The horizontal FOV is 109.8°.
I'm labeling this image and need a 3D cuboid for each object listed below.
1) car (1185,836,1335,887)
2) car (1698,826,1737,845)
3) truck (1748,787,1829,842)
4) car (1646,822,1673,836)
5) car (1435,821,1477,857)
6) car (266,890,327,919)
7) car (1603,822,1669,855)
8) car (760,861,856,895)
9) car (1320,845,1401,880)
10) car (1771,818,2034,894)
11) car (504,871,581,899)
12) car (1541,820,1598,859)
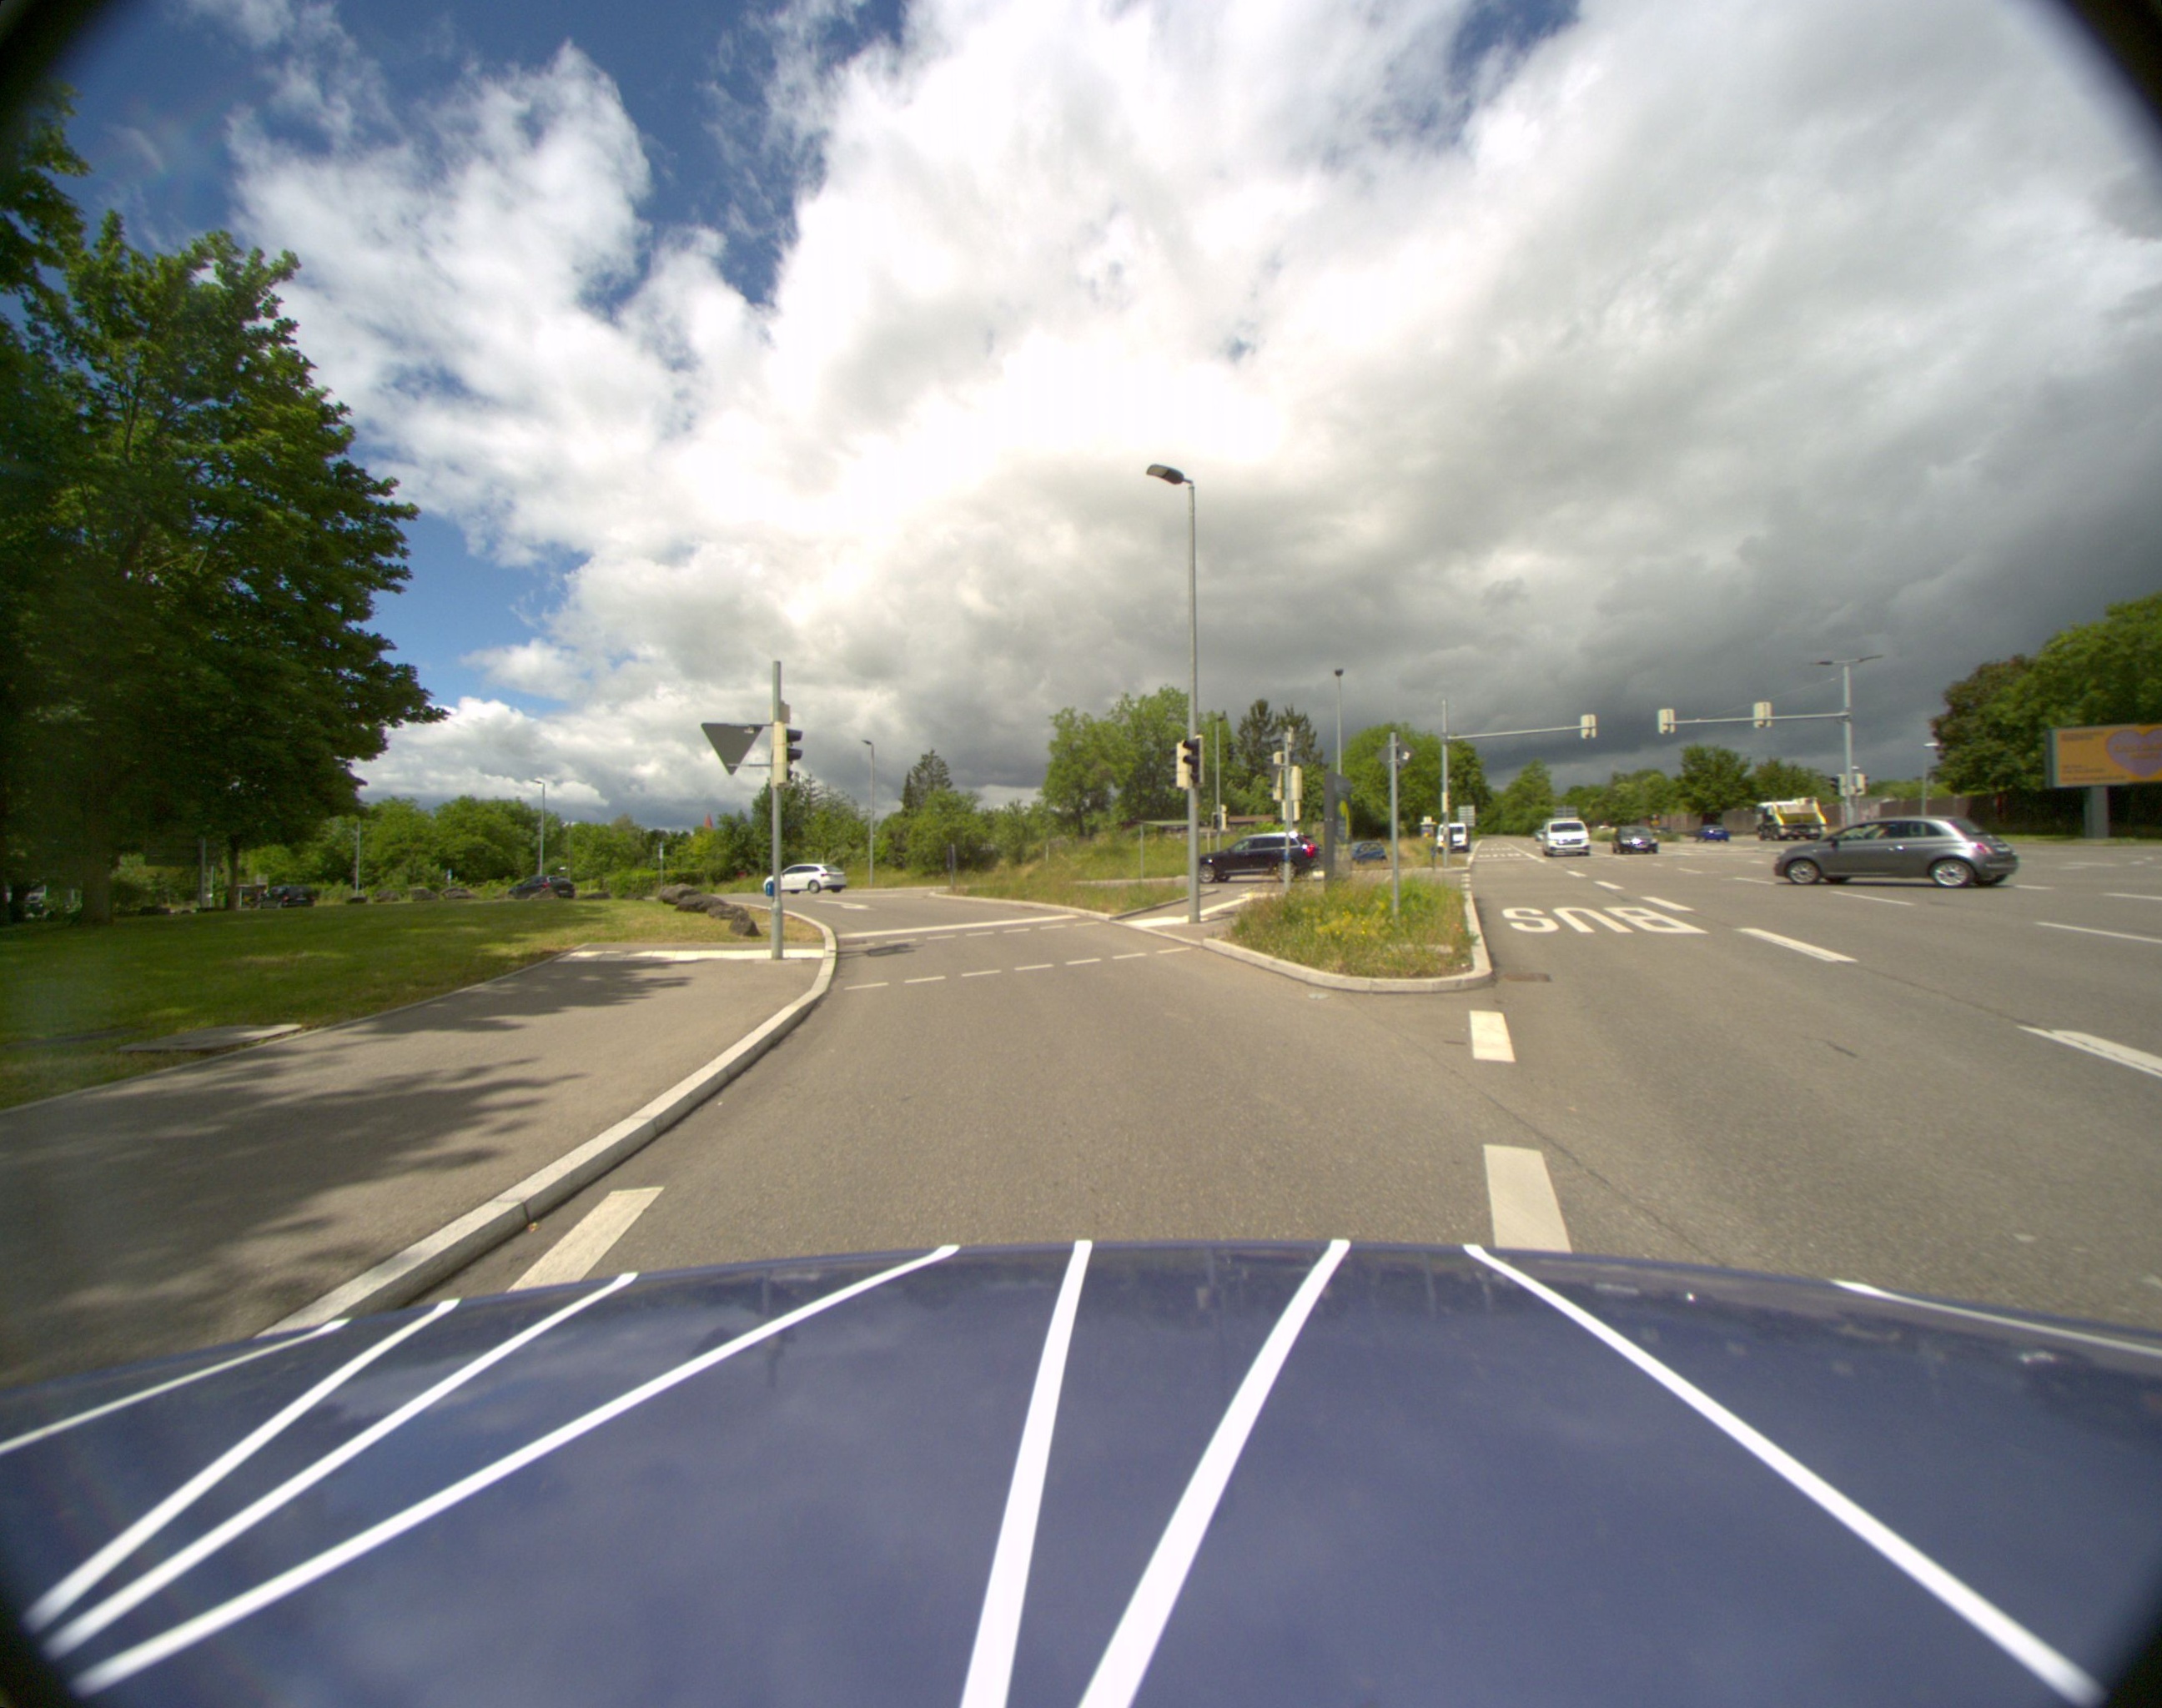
[{"bbox_3d":[6.562,0.291,28.066,4.969,1.680,1.914,-2,1,32],"label":"car"},{"bbox_3d":[54.569,-1.556,65.249,1.692,1.391,4.009,-1,-2,27],"label":"car"},{"bbox_3d":[56.094,-2.989,60.448,2.839,3.556,6.983,-1,-3,27],"label":"truck"},{"bbox_3d":[65.119,-2.786,85.574,1.692,1.392,4.007,-1,1,27],"label":"car"},{"bbox_3d":[29.321,-1.190,59.298,2.159,2.635,5.836,-1,1,34],"label":"car"},{"bbox_3d":[-58.608,3.775,56.781,4.800,1.767,1.794,-6,-3,27],"label":"car"},{"bbox_3d":[29.813,-0.850,40.980,1.906,1.626,4.978,-2,1,25],"label":"car"},{"bbox_3d":[-13.422,1.167,37.367,4.368,1.461,1.624,-2,1,21],"label":"car"},{"bbox_3d":[14.842,0.407,40.243,4.455,1.627,1.906,-3,1,-37],"label":"car"},{"bbox_3d":[17.550,0.076,16.451,1.587,1.452,3.518,0,-1,-21],"label":"car"},{"bbox_3d":[-31.859,1.836,44.934,4.154,1.568,1.794,-2,-1,24],"label":"car"},{"bbox_3d":[26.453,-0.832,41.299,1.906,1.926,4.978,-2,1,25],"label":"car"}]
